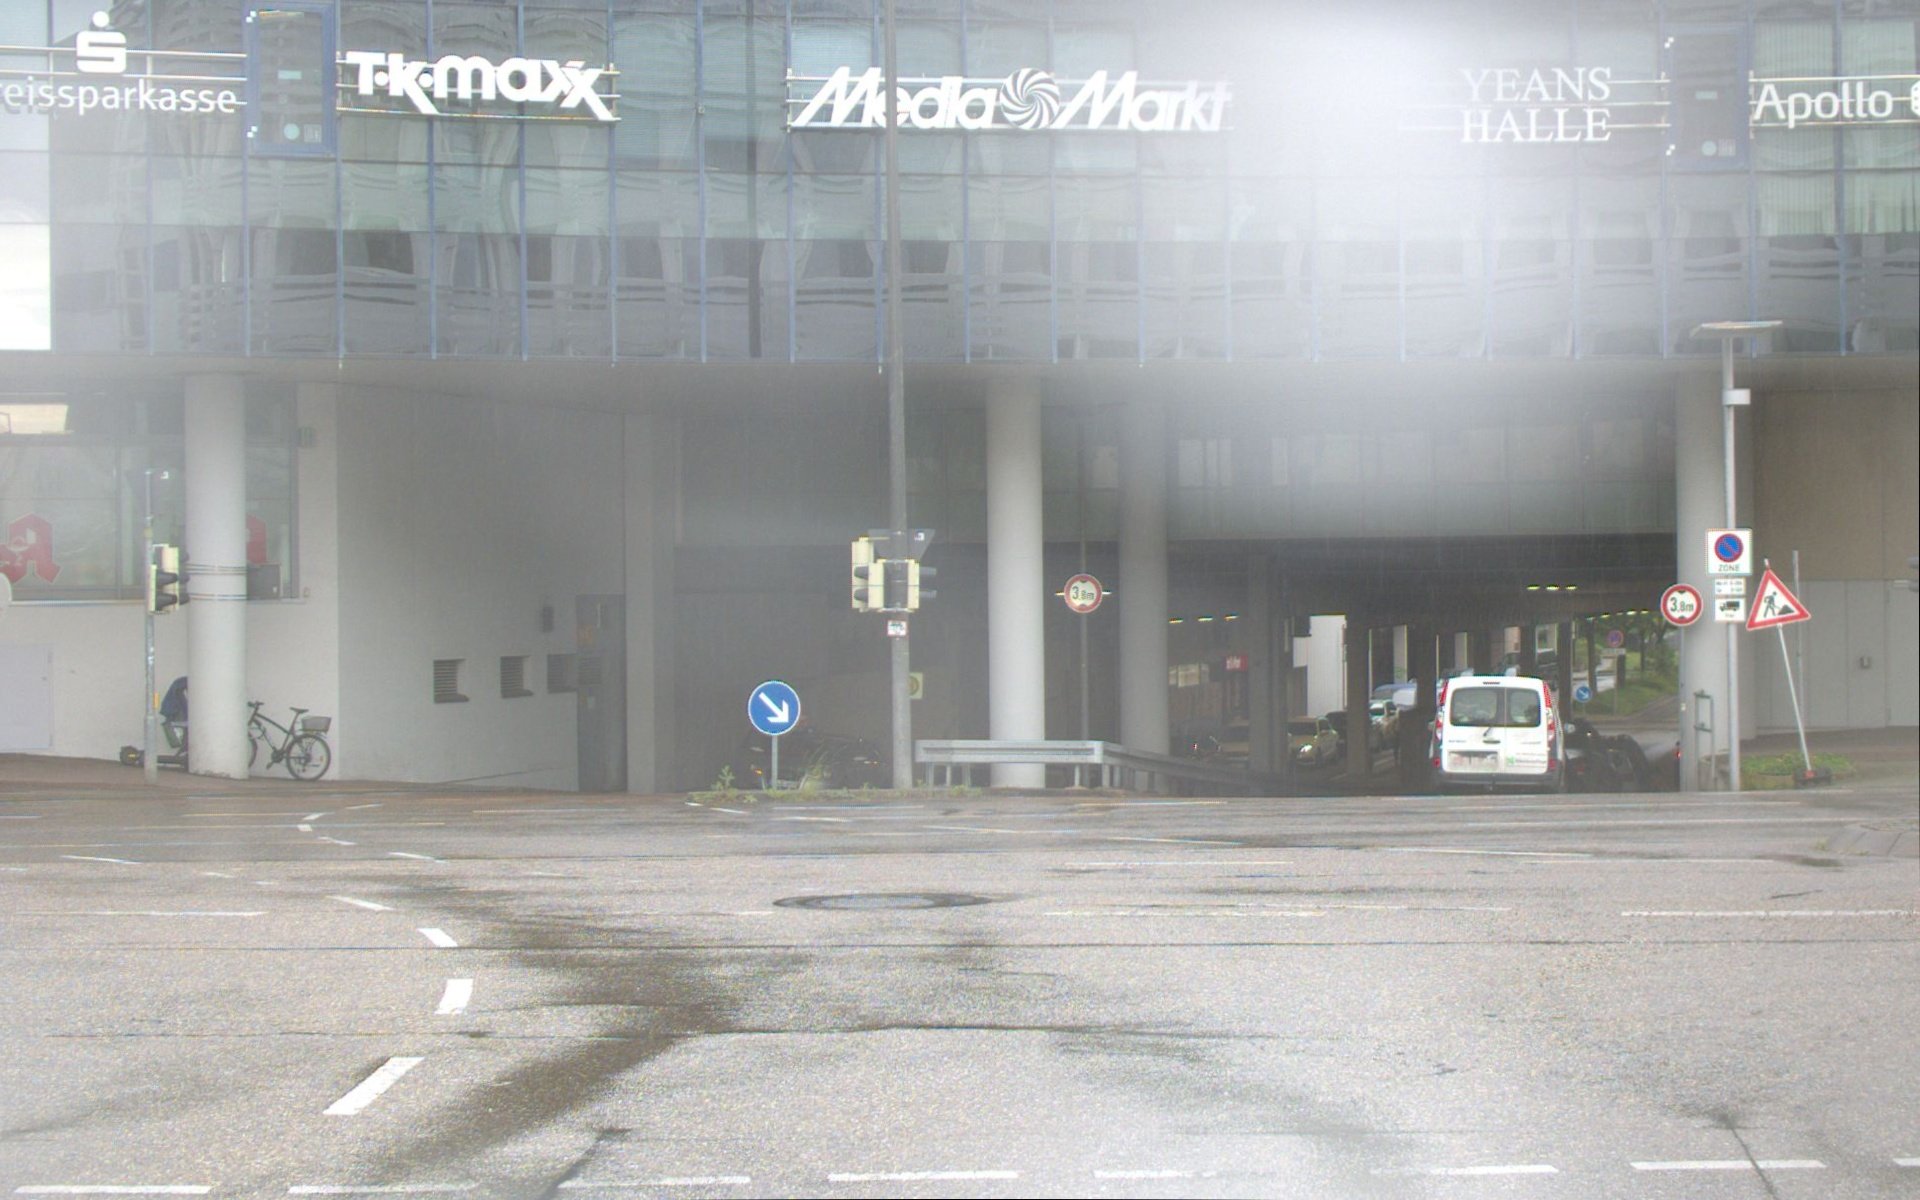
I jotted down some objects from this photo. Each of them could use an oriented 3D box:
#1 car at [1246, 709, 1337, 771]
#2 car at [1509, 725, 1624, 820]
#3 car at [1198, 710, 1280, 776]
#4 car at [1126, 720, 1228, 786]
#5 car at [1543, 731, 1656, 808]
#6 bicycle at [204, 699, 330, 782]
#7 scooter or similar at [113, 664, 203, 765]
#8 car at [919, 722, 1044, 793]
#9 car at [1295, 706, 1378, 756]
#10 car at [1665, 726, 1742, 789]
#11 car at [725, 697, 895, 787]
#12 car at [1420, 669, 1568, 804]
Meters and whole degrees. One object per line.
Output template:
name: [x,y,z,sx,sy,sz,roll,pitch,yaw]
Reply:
car: [9.786,4.091,101.188,1.995,1.658,3.997,1,0,15]
car: [10.696,3.032,60.482,1.634,1.606,4.259,-1,-3,14]
car: [7.799,3.961,95.854,1.837,1.722,3.998,0,-1,11]
car: [5.753,4.029,90.792,1.916,1.582,3.936,-1,-1,15]
car: [12.186,3.229,65.363,1.780,1.396,3.996,-1,-3,15]
bicycle: [-9.666,1.960,47.973,1.581,1.014,0.452,7,-3,-31]
scooter or similar: [-11.114,1.579,47.630,1.166,1.368,0.489,1,0,-15]
car: [0.491,3.380,73.905,1.772,1.459,3.872,-1,-3,15]
car: [11.958,4.140,109.051,1.995,1.459,3.997,-1,-1,15]
car: [19.588,4.121,90.483,1.889,1.486,3.838,1,0,13]
car: [-2.670,2.592,62.079,1.894,1.465,4.023,-1,-5,16]
car: [7.520,1.891,48.158,1.926,1.791,4.294,-1,-2,10]
